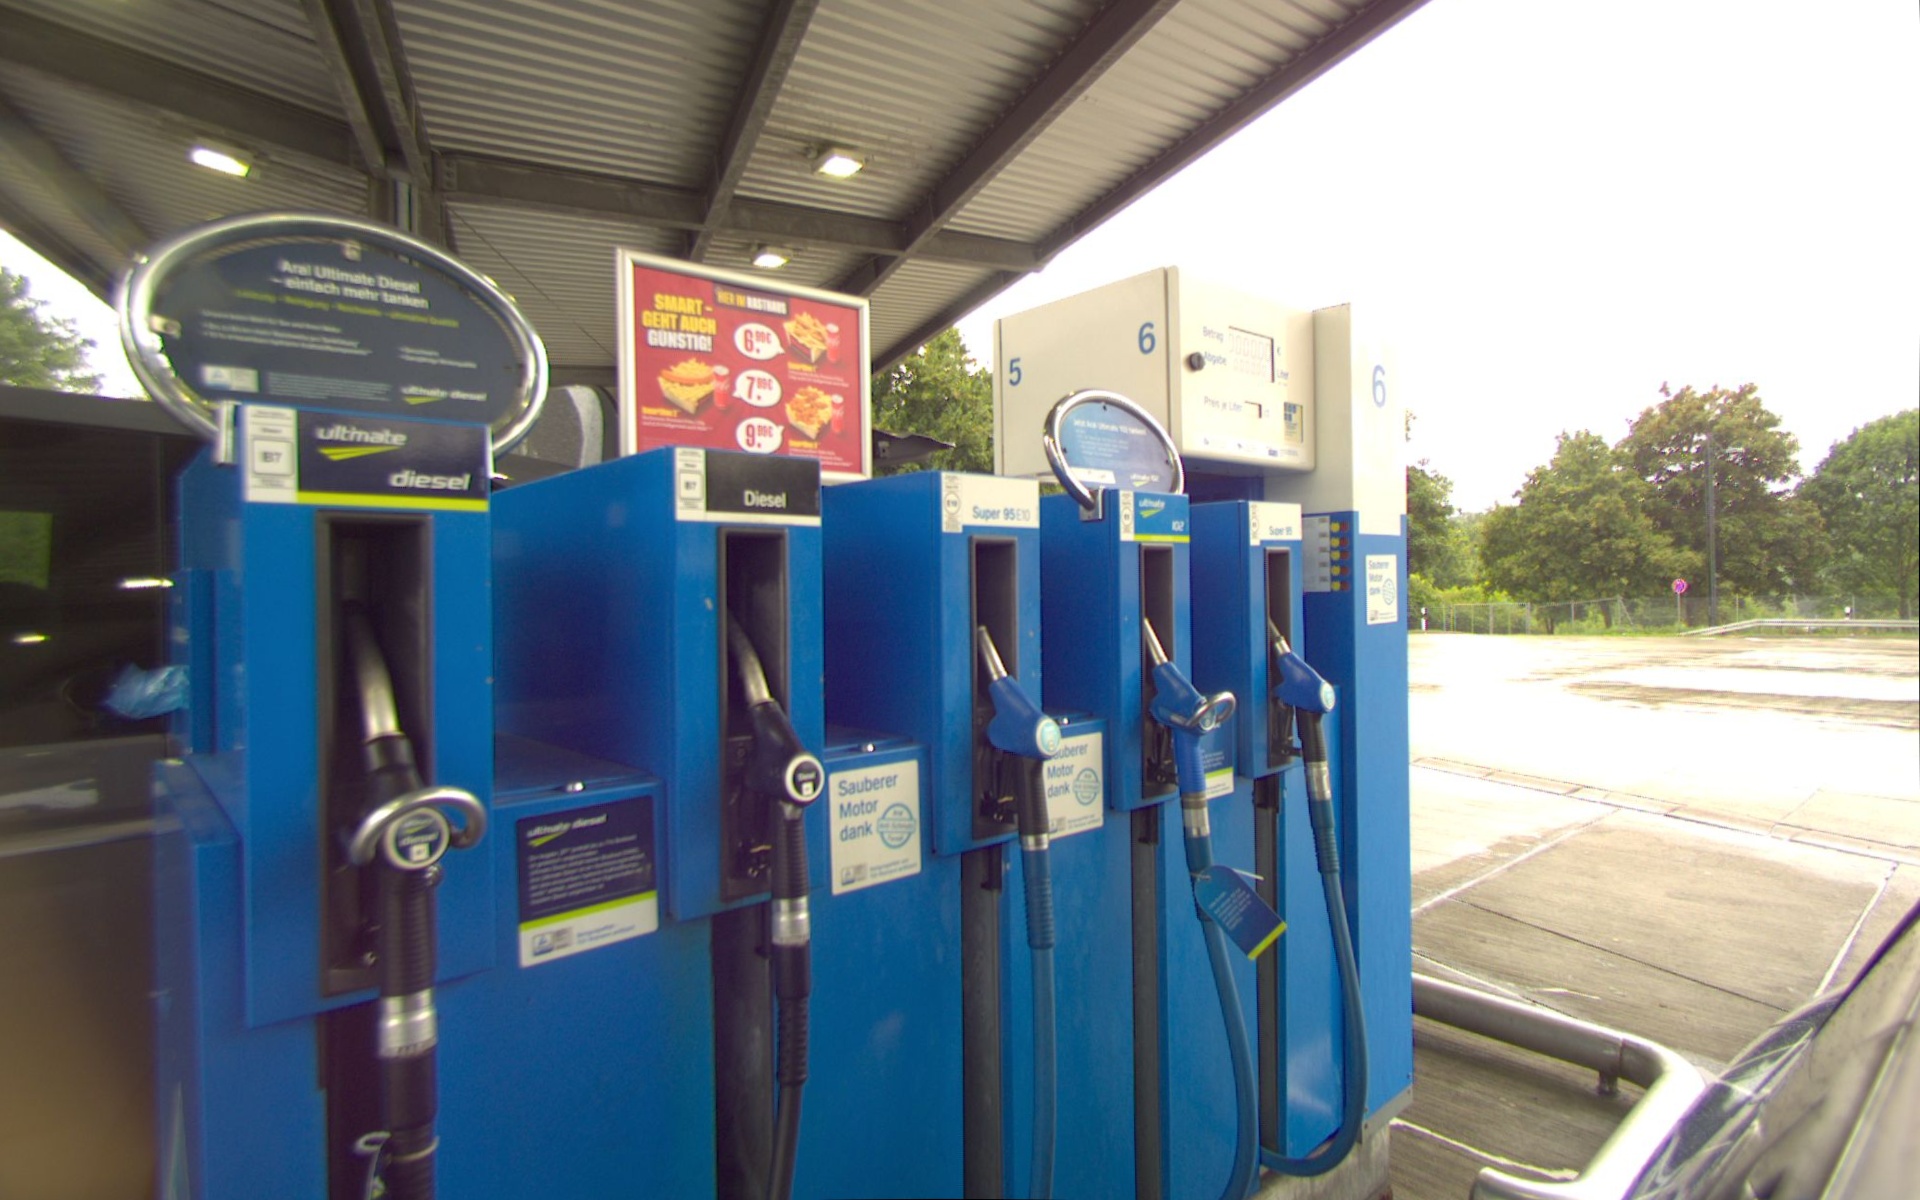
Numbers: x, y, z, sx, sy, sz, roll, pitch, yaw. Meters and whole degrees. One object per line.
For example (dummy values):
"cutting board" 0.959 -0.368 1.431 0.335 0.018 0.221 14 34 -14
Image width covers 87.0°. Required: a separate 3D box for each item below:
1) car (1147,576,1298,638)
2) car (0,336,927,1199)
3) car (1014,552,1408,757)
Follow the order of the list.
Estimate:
"car" 8.885 0.207 34.517 4.817 1.974 2.306 1 1 14
"car" -2.601 0.504 1.830 5.050 1.821 1.864 -1 0 -41
"car" 2.875 0.460 11.112 4.456 1.821 1.866 0 0 -38
